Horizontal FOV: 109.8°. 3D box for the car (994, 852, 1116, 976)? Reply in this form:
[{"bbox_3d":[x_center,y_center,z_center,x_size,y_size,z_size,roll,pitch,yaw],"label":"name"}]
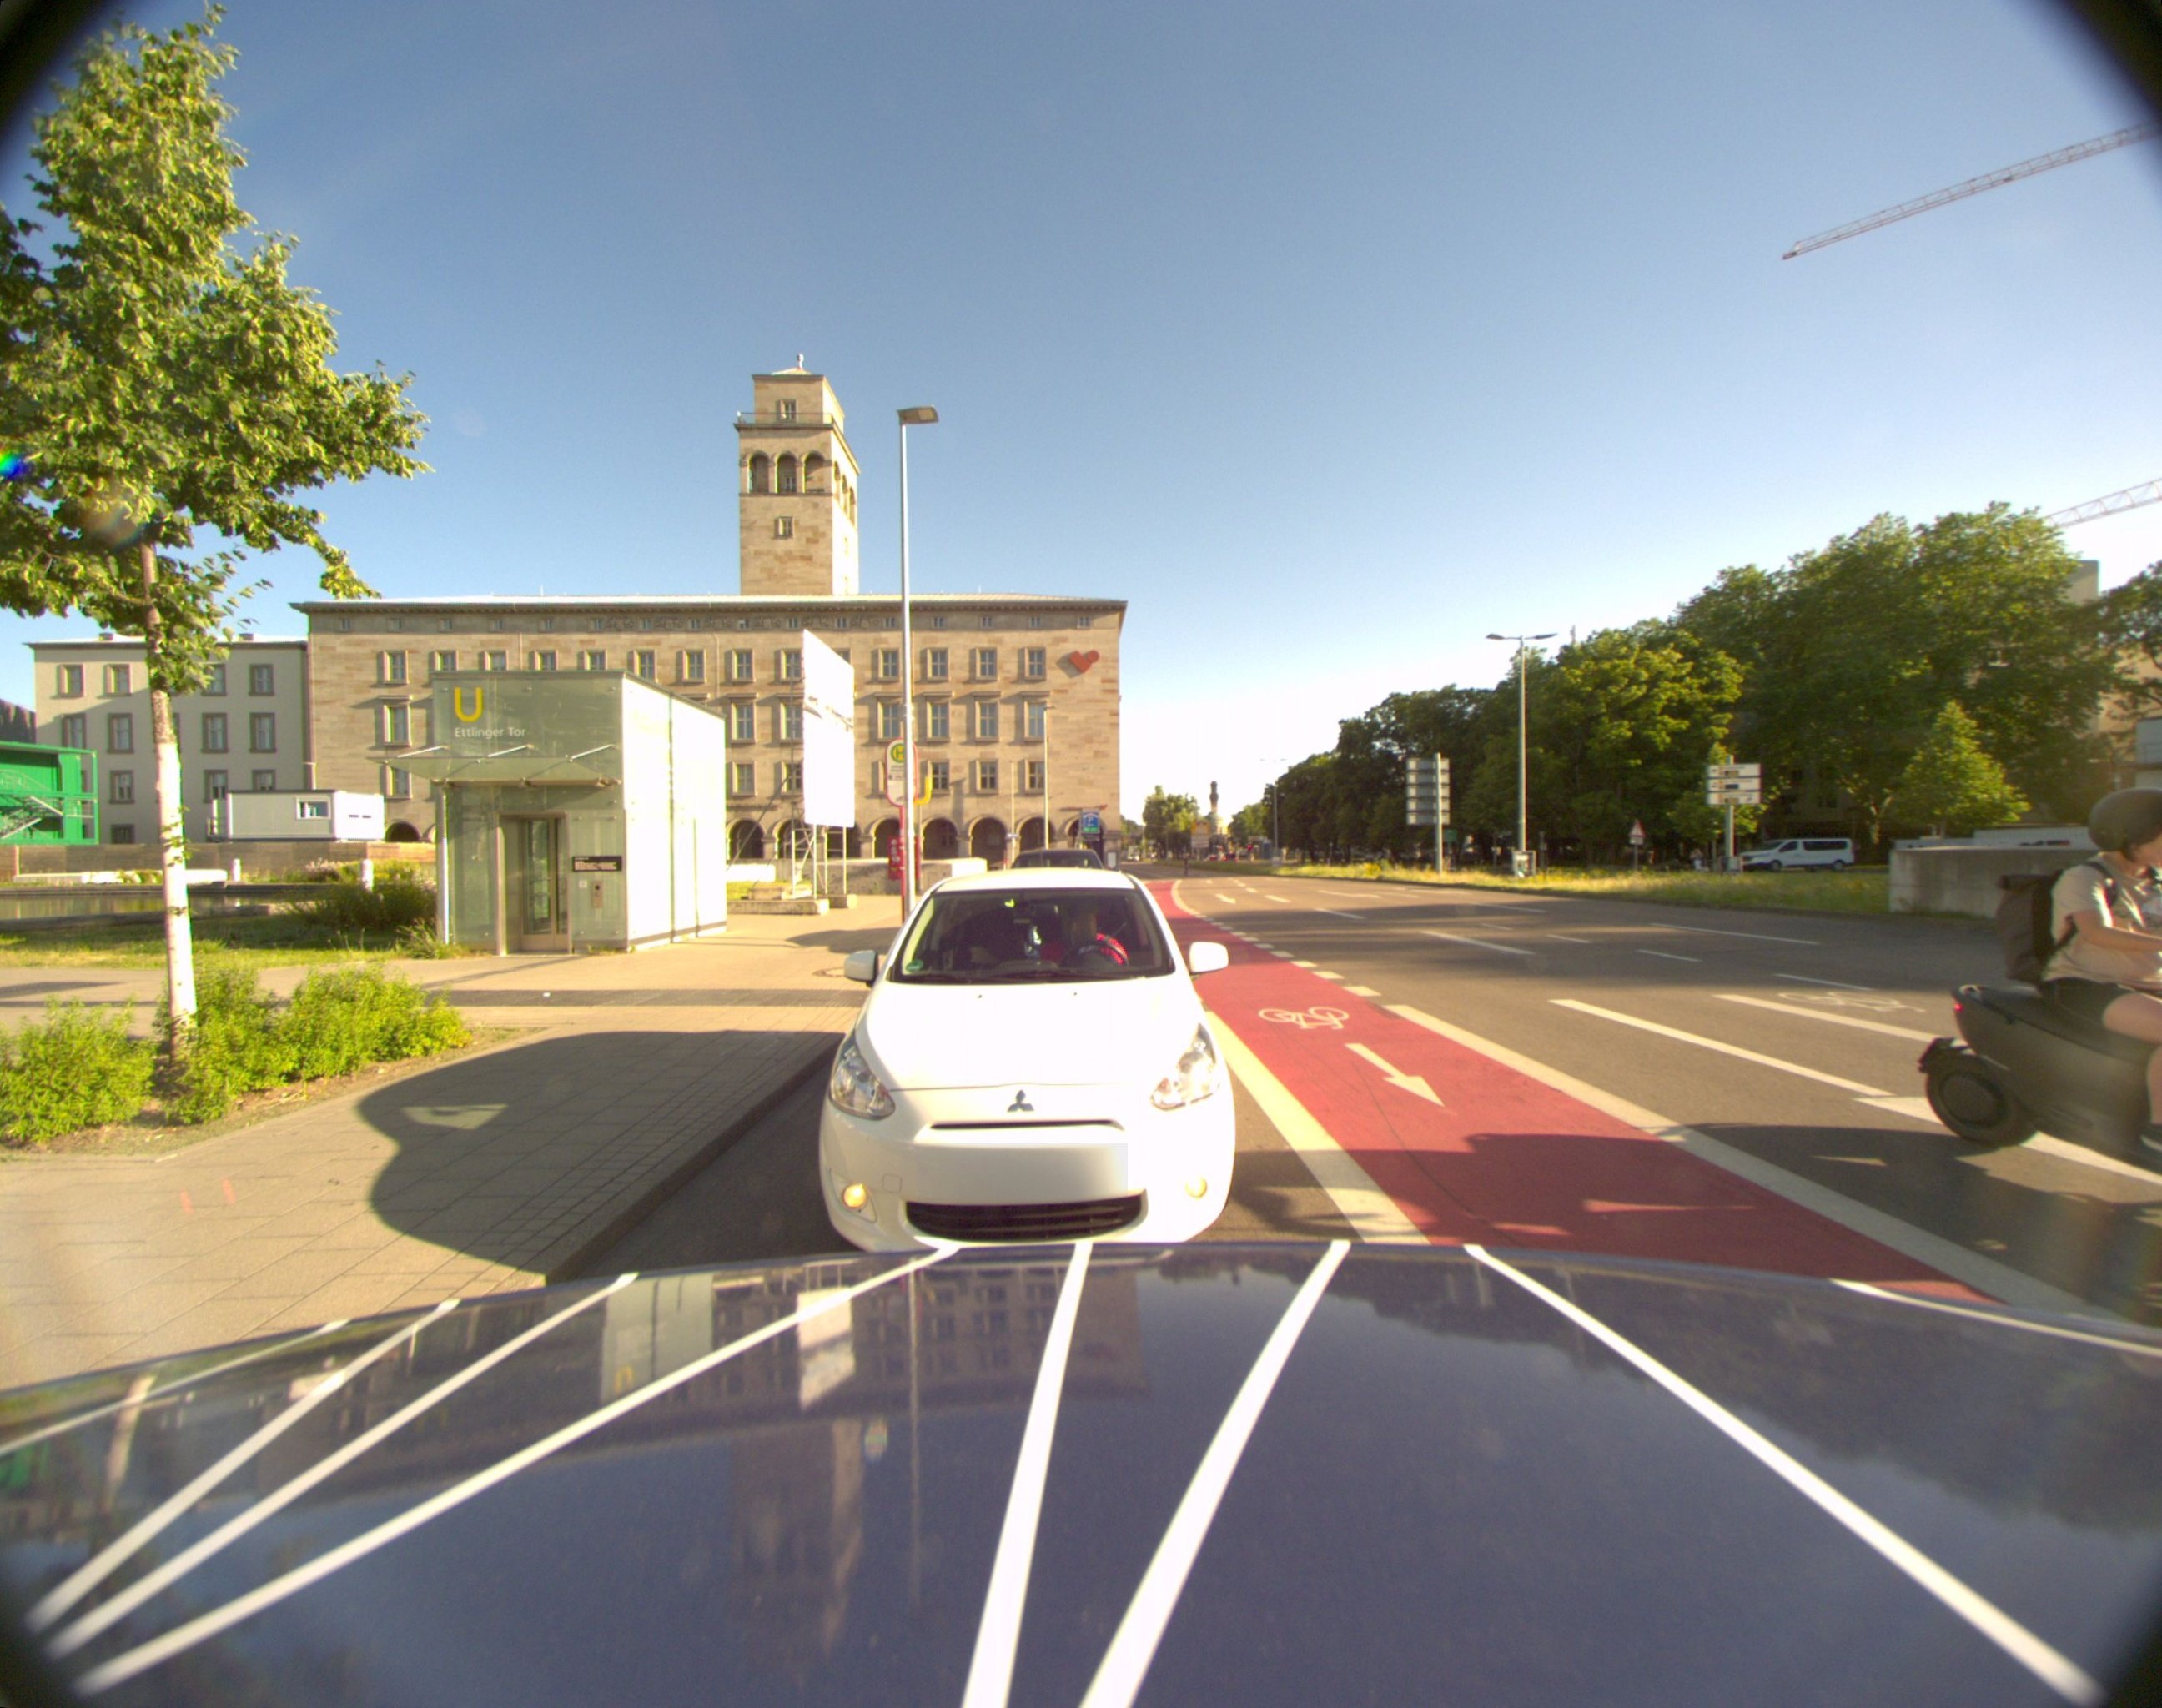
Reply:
[{"bbox_3d":[-0.382,0.838,12.506,1.642,1.653,3.849,-2,0,-1],"label":"car"}]

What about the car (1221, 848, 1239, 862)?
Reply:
[{"bbox_3d":[21.573,0.112,110.201,1.819,1.817,3.999,-2,1,1],"label":"car"}]

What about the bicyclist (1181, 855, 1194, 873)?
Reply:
[{"bbox_3d":[8.454,0.791,60.488,0.854,1.340,0.829,-2,1,1],"label":"bicyclist"}]

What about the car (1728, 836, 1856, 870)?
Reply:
[{"bbox_3d":[42.121,-0.054,45.102,5.516,1.924,2.065,-1,1,2],"label":"car"}]

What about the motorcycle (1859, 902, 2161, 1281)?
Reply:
[{"bbox_3d":[4.276,0.898,2.873,0.724,1.286,1.884,-2,0,1],"label":"motorcycle"}]

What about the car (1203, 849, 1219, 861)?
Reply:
[{"bbox_3d":[20.566,0.108,120.430,1.747,1.778,3.947,-2,1,1],"label":"car"}]

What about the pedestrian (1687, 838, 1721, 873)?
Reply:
[{"bbox_3d":[33.976,0.077,41.456,0.989,1.821,1.019,-2,1,-3],"label":"pedestrian"}]

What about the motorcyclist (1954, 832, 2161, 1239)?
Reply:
[{"bbox_3d":[4.268,0.654,2.926,0.727,1.466,0.917,-2,0,1],"label":"motorcyclist"}]

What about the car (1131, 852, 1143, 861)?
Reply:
[{"bbox_3d":[11.700,0.517,159.736,1.877,1.827,4.584,-2,1,-3],"label":"car"}]

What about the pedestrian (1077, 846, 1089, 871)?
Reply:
[{"bbox_3d":[0.191,0.485,80.829,1.122,2.524,1.055,-2,1,1],"label":"pedestrian"}]

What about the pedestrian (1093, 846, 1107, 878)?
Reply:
[{"bbox_3d":[1.562,0.640,62.615,1.122,2.524,1.055,-2,1,1],"label":"pedestrian"}]

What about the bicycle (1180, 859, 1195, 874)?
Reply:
[{"bbox_3d":[8.473,1.000,60.542,0.854,1.109,2.808,-2,0,1],"label":"bicycle"}]

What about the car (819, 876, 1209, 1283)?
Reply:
[{"bbox_3d":[-0.242,0.952,4.826,1.496,1.477,3.604,-2,0,1],"label":"car"}]
